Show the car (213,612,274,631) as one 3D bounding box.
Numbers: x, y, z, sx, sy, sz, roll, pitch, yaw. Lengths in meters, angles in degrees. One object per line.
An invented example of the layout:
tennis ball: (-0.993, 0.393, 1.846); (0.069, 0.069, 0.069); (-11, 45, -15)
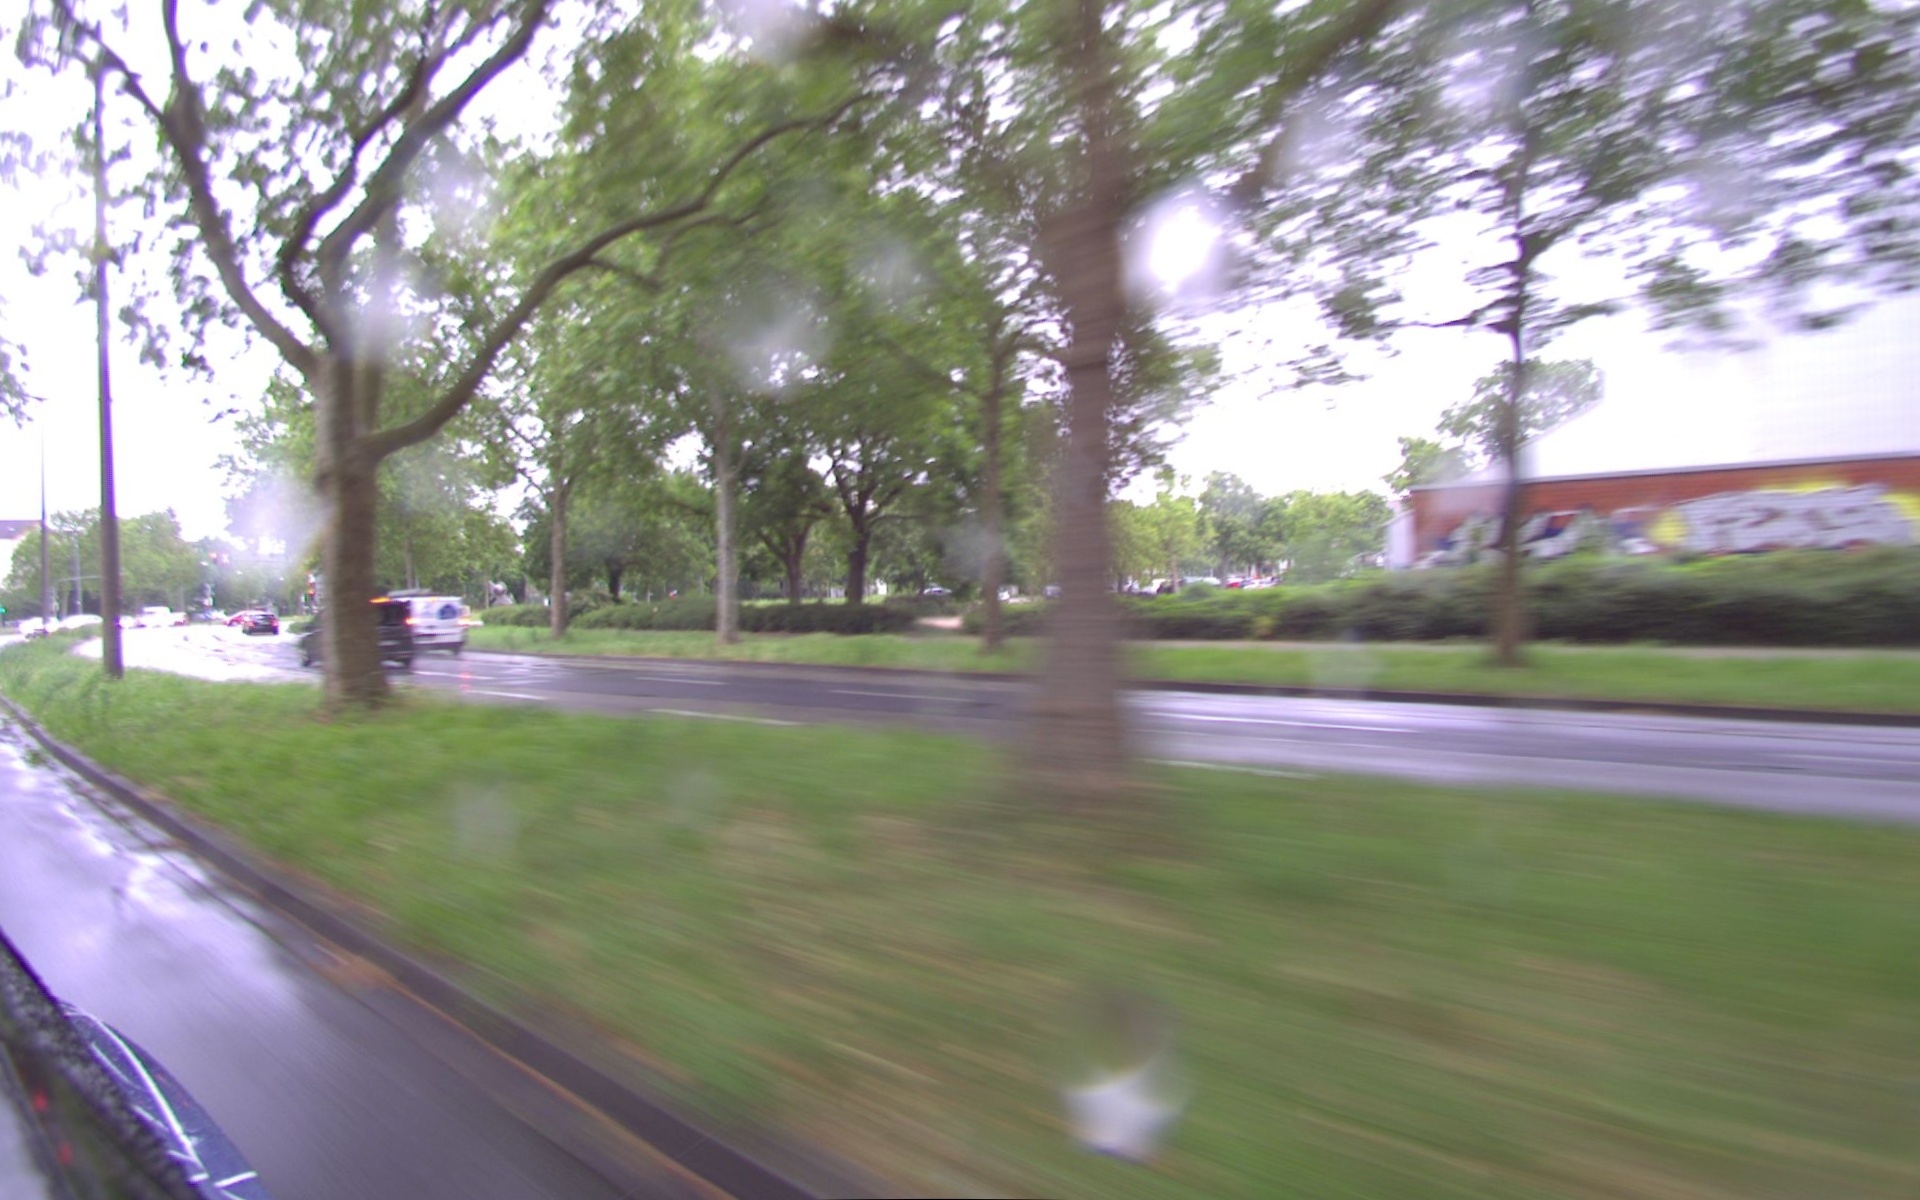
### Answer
car: (-70.708, 2.132, 99.945); (4.444, 1.641, 2.007); (-2, 1, -21)

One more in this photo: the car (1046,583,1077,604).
car: (10.108, -0.640, 100.716); (1.968, 1.916, 4.507); (-2, 1, -8)

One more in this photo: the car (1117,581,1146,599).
car: (19.980, -1.158, 118.140); (1.968, 1.916, 4.507); (-2, 1, -8)

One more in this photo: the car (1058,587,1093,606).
car: (10.202, -0.341, 89.708); (1.968, 1.548, 4.507); (-2, 1, -8)

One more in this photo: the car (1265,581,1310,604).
car: (29.082, -0.692, 89.934); (1.968, 1.916, 4.507); (-2, 1, -8)

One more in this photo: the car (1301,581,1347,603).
car: (32.419, -0.713, 90.222); (1.968, 1.916, 4.507); (-2, 1, -8)

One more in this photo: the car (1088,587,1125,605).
car: (12.932, -0.353, 89.383); (1.968, 1.548, 4.507); (-2, 1, -8)

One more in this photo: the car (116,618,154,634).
car: (-91.829, 2.852, 112.751); (1.965, 1.641, 4.537); (-2, 1, -21)

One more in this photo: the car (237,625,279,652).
car: (-46.954, 2.528, 67.689); (1.968, 1.643, 4.339); (-2, 1, -39)

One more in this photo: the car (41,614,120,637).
car: (-70.871, 2.060, 81.644); (1.982, 1.641, 4.482); (-2, 1, 15)

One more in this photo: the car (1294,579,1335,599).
car: (35.596, -1.138, 101.600); (1.968, 1.916, 4.507); (-2, 1, -8)

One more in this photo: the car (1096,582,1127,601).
car: (16.038, -0.922, 107.407); (1.968, 1.916, 4.507); (-2, 1, -8)

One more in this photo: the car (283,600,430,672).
car: (-16.348, 0.932, 27.292); (4.953, 1.749, 2.008); (-1, 0, 42)

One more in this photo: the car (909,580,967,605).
car: (-2.153, -0.733, 98.028); (5.332, 2.190, 2.003); (-2, 1, -6)

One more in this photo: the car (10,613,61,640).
car: (-63.617, 1.795, 69.717); (1.967, 1.641, 4.533); (-2, 1, -35)

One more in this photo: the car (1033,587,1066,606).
car: (7.916, -0.323, 89.884); (1.968, 1.548, 4.507); (-2, 1, -8)

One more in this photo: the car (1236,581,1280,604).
car: (26.502, -0.638, 90.104); (1.968, 1.916, 4.507); (-2, 1, -8)

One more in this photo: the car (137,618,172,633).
car: (-95.527, 2.983, 120.066); (1.965, 1.641, 4.537); (-2, 1, -22)

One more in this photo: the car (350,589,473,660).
car: (-18.960, 0.811, 34.845); (5.433, 2.243, 2.008); (-1, 0, 42)

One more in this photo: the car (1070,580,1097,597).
car: (14.587, -1.331, 119.826); (1.968, 1.916, 4.507); (-2, 1, -8)

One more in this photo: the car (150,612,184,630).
car: (-99.750, 2.622, 127.387); (1.965, 2.123, 5.160); (-2, 1, -22)
